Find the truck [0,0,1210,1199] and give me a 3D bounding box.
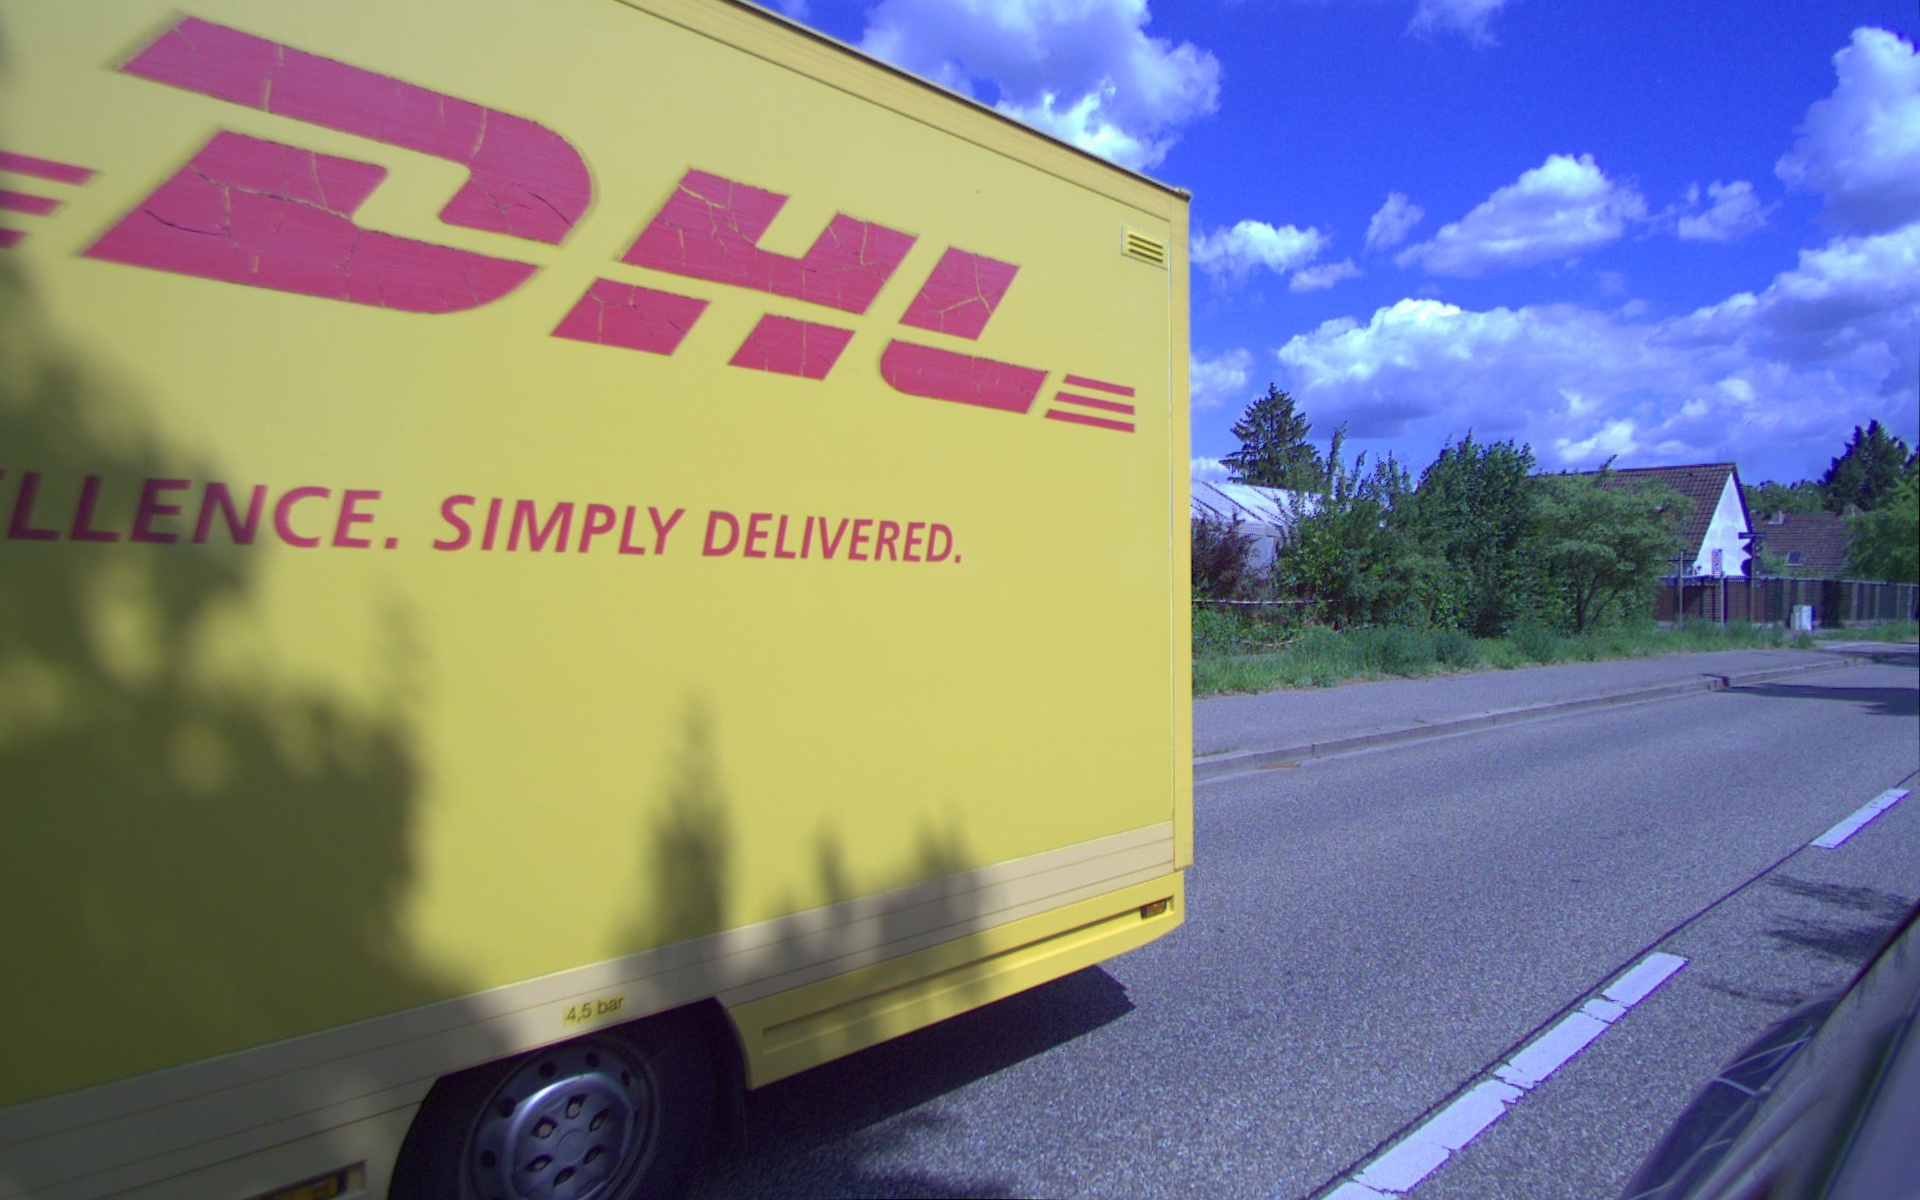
[{"bbox_3d":[-2.856,-0.035,1.653,7.888,2.917,2.268,0,0,-41],"label":"truck"}]
